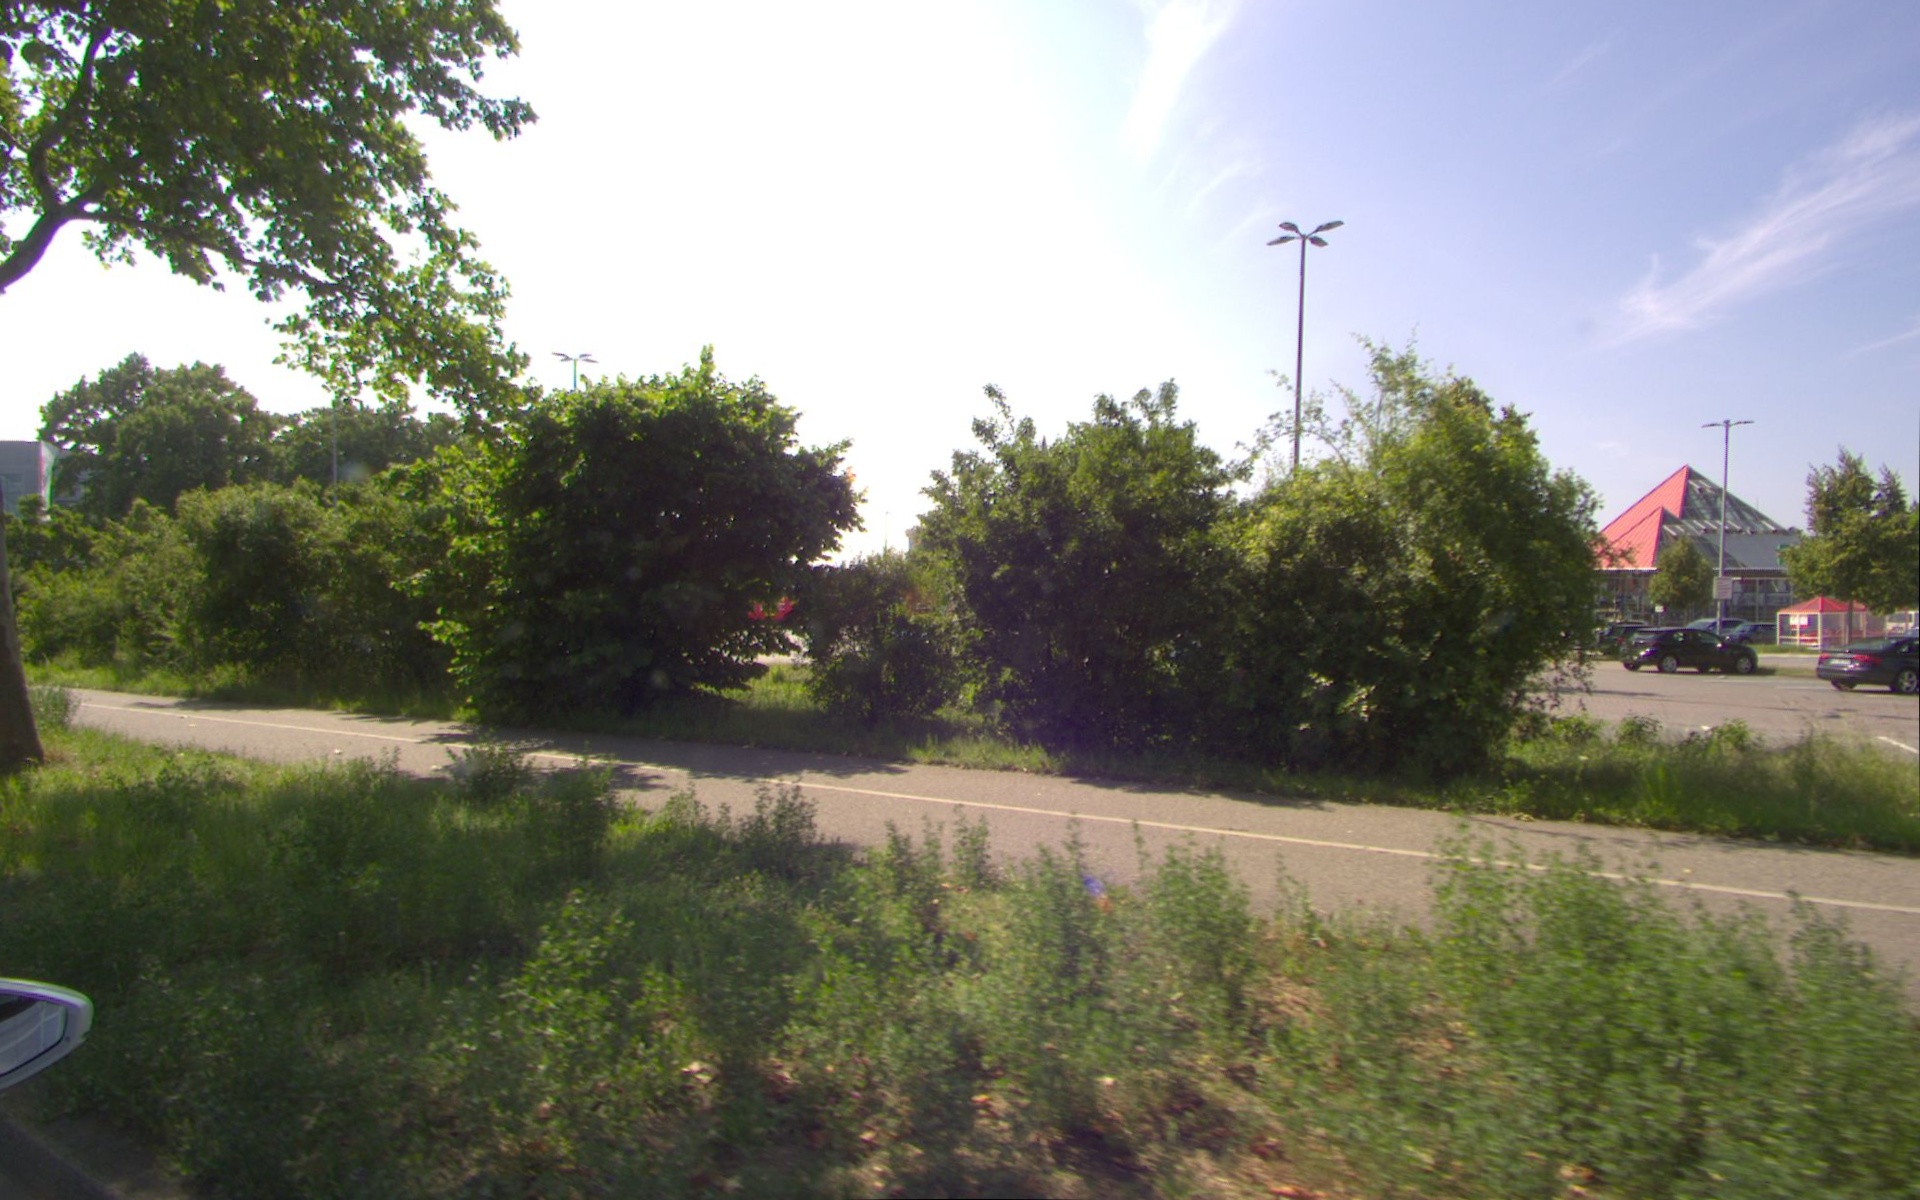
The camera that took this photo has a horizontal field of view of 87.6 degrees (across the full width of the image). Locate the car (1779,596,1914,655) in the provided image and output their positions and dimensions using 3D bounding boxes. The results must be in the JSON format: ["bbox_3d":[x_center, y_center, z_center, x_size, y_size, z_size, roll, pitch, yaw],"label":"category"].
[{"bbox_3d":[45.725,1.317,51.708,5.182,2.889,2.306,1,-1,-6],"label":"car"}]

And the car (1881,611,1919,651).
[{"bbox_3d":[55.610,1.777,57.630,3.511,2.257,2.004,1,-1,-6],"label":"car"}]

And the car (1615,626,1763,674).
[{"bbox_3d":[23.339,1.612,32.113,3.798,1.460,1.496,1,-2,-6],"label":"car"}]

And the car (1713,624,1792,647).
[{"bbox_3d":[44.736,2.020,56.569,3.256,1.265,1.394,1,-2,5],"label":"car"}]

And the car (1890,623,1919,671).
[{"bbox_3d":[45.486,2.180,46.429,3.484,2.191,1.558,1,-1,-6],"label":"car"}]

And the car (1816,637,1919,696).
[{"bbox_3d":[23.600,1.627,24.601,3.922,1.371,1.445,1,-1,0],"label":"car"}]
